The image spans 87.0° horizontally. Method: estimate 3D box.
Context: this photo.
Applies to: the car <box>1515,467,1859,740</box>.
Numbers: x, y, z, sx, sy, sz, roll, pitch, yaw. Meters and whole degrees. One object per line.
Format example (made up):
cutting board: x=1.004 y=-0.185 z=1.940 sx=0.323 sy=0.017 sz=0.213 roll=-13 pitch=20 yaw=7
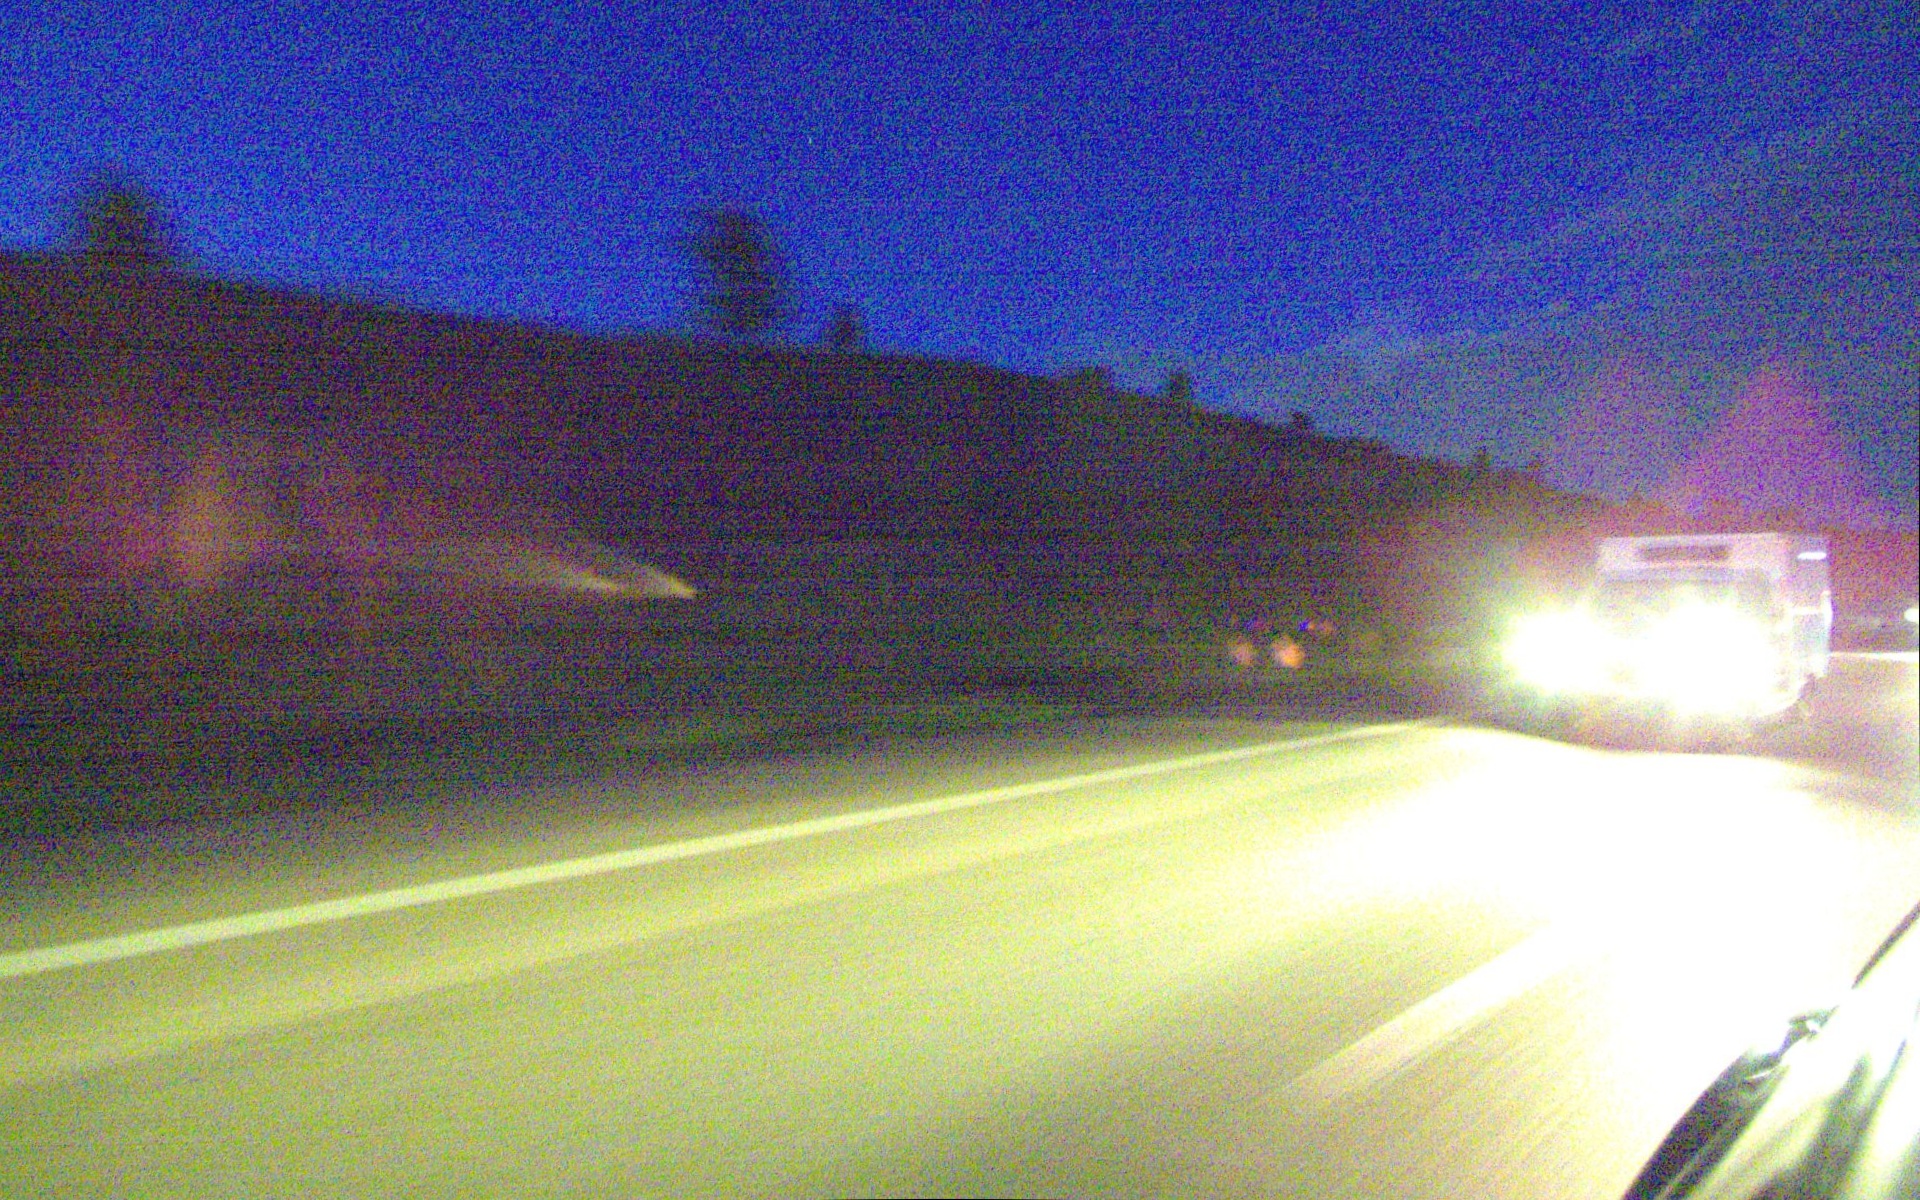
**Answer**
car: x=9.130 y=0.023 z=12.483 sx=5.621 sy=2.680 sz=2.037 roll=0 pitch=0 yaw=-39
